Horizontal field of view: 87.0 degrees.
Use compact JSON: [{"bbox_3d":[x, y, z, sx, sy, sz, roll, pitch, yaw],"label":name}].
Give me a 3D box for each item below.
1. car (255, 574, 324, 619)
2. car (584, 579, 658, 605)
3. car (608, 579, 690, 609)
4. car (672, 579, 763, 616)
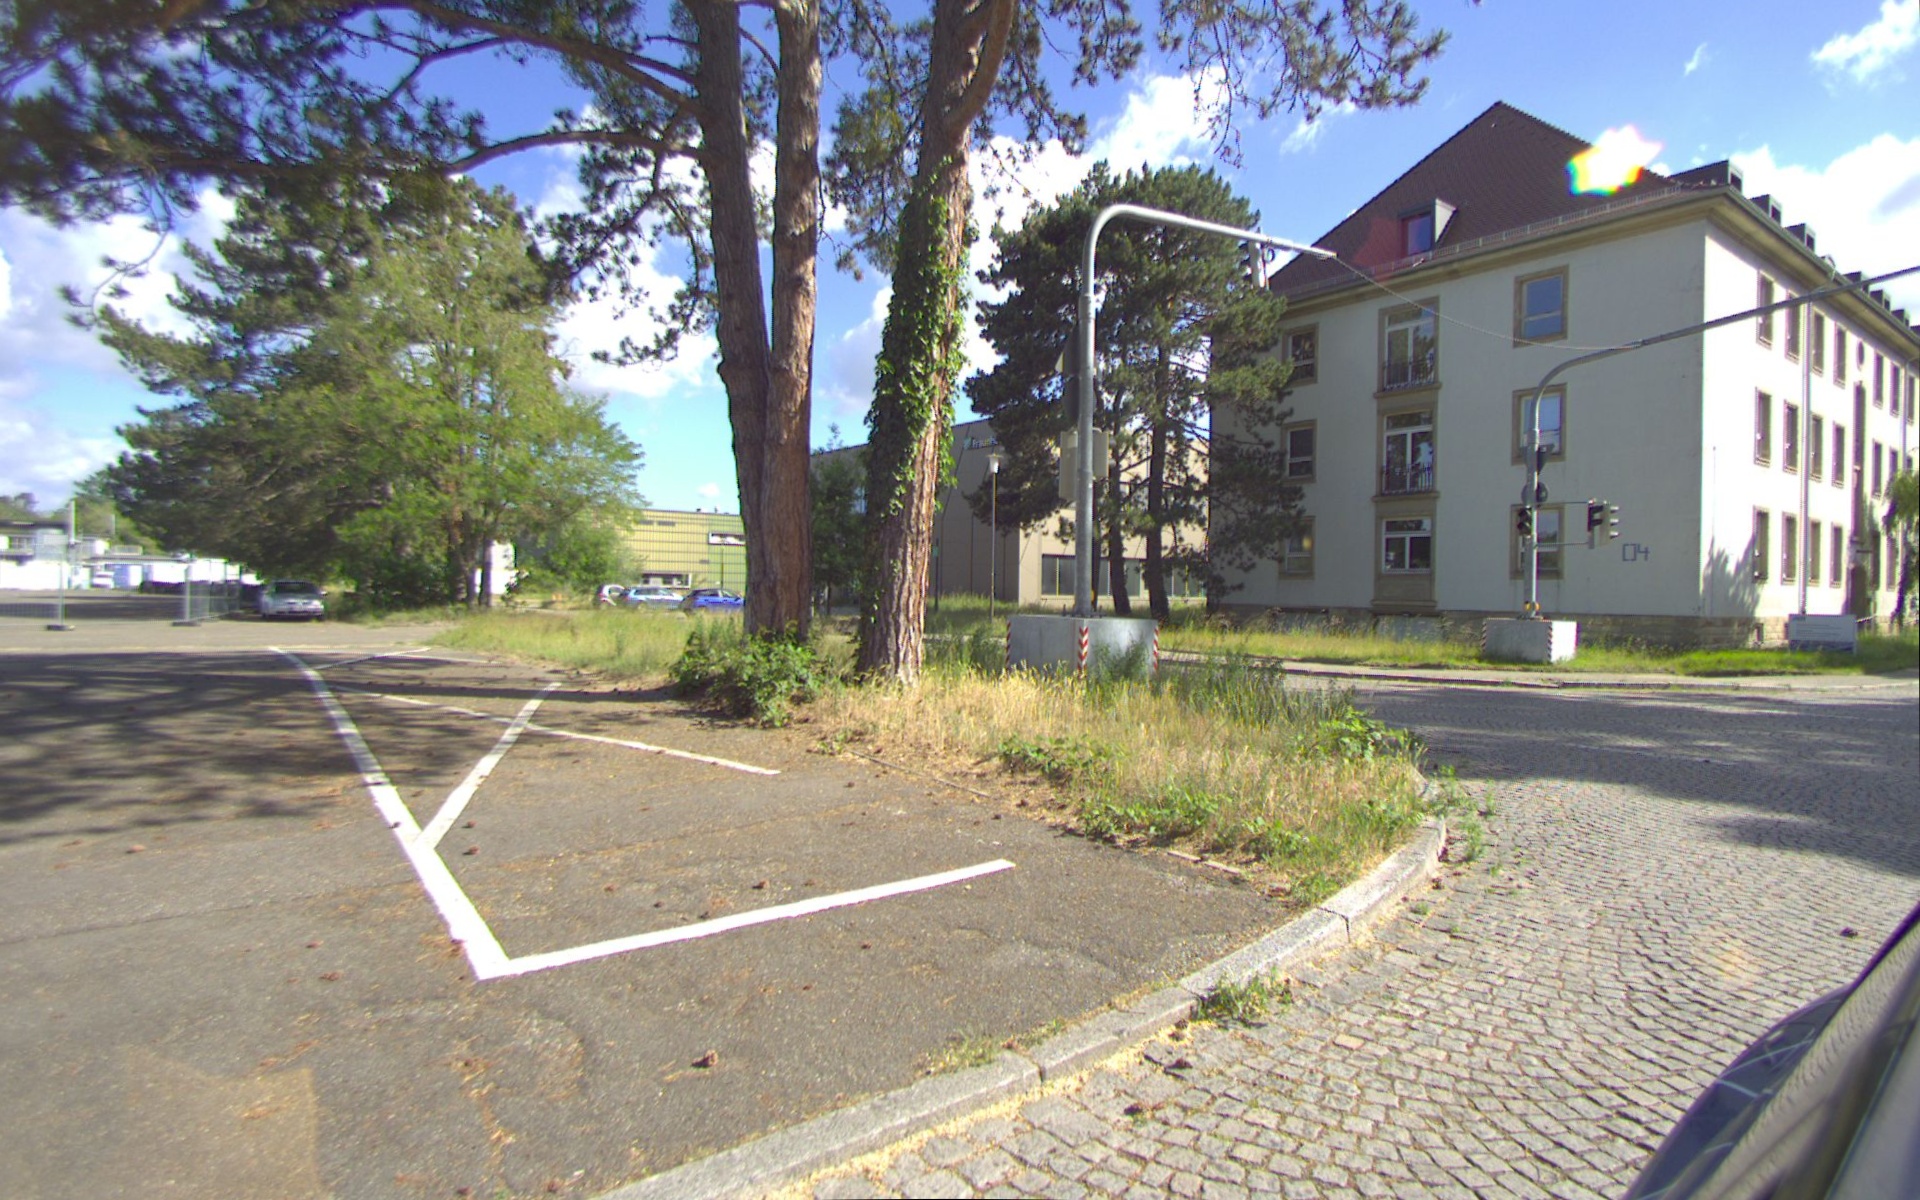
[{"bbox_3d":[-23.391,-0.142,35.254,1.713,1.440,3.998,2,0,-37],"label":"car"},{"bbox_3d":[-21.578,-0.476,64.536,4.148,1.584,1.780,1,0,-38],"label":"car"},{"bbox_3d":[-17.808,-0.328,57.990,4.148,1.584,1.860,1,-2,-38],"label":"car"},{"bbox_3d":[-12.061,-0.154,50.475,3.984,1.583,1.862,-3,3,-35],"label":"car"}]
